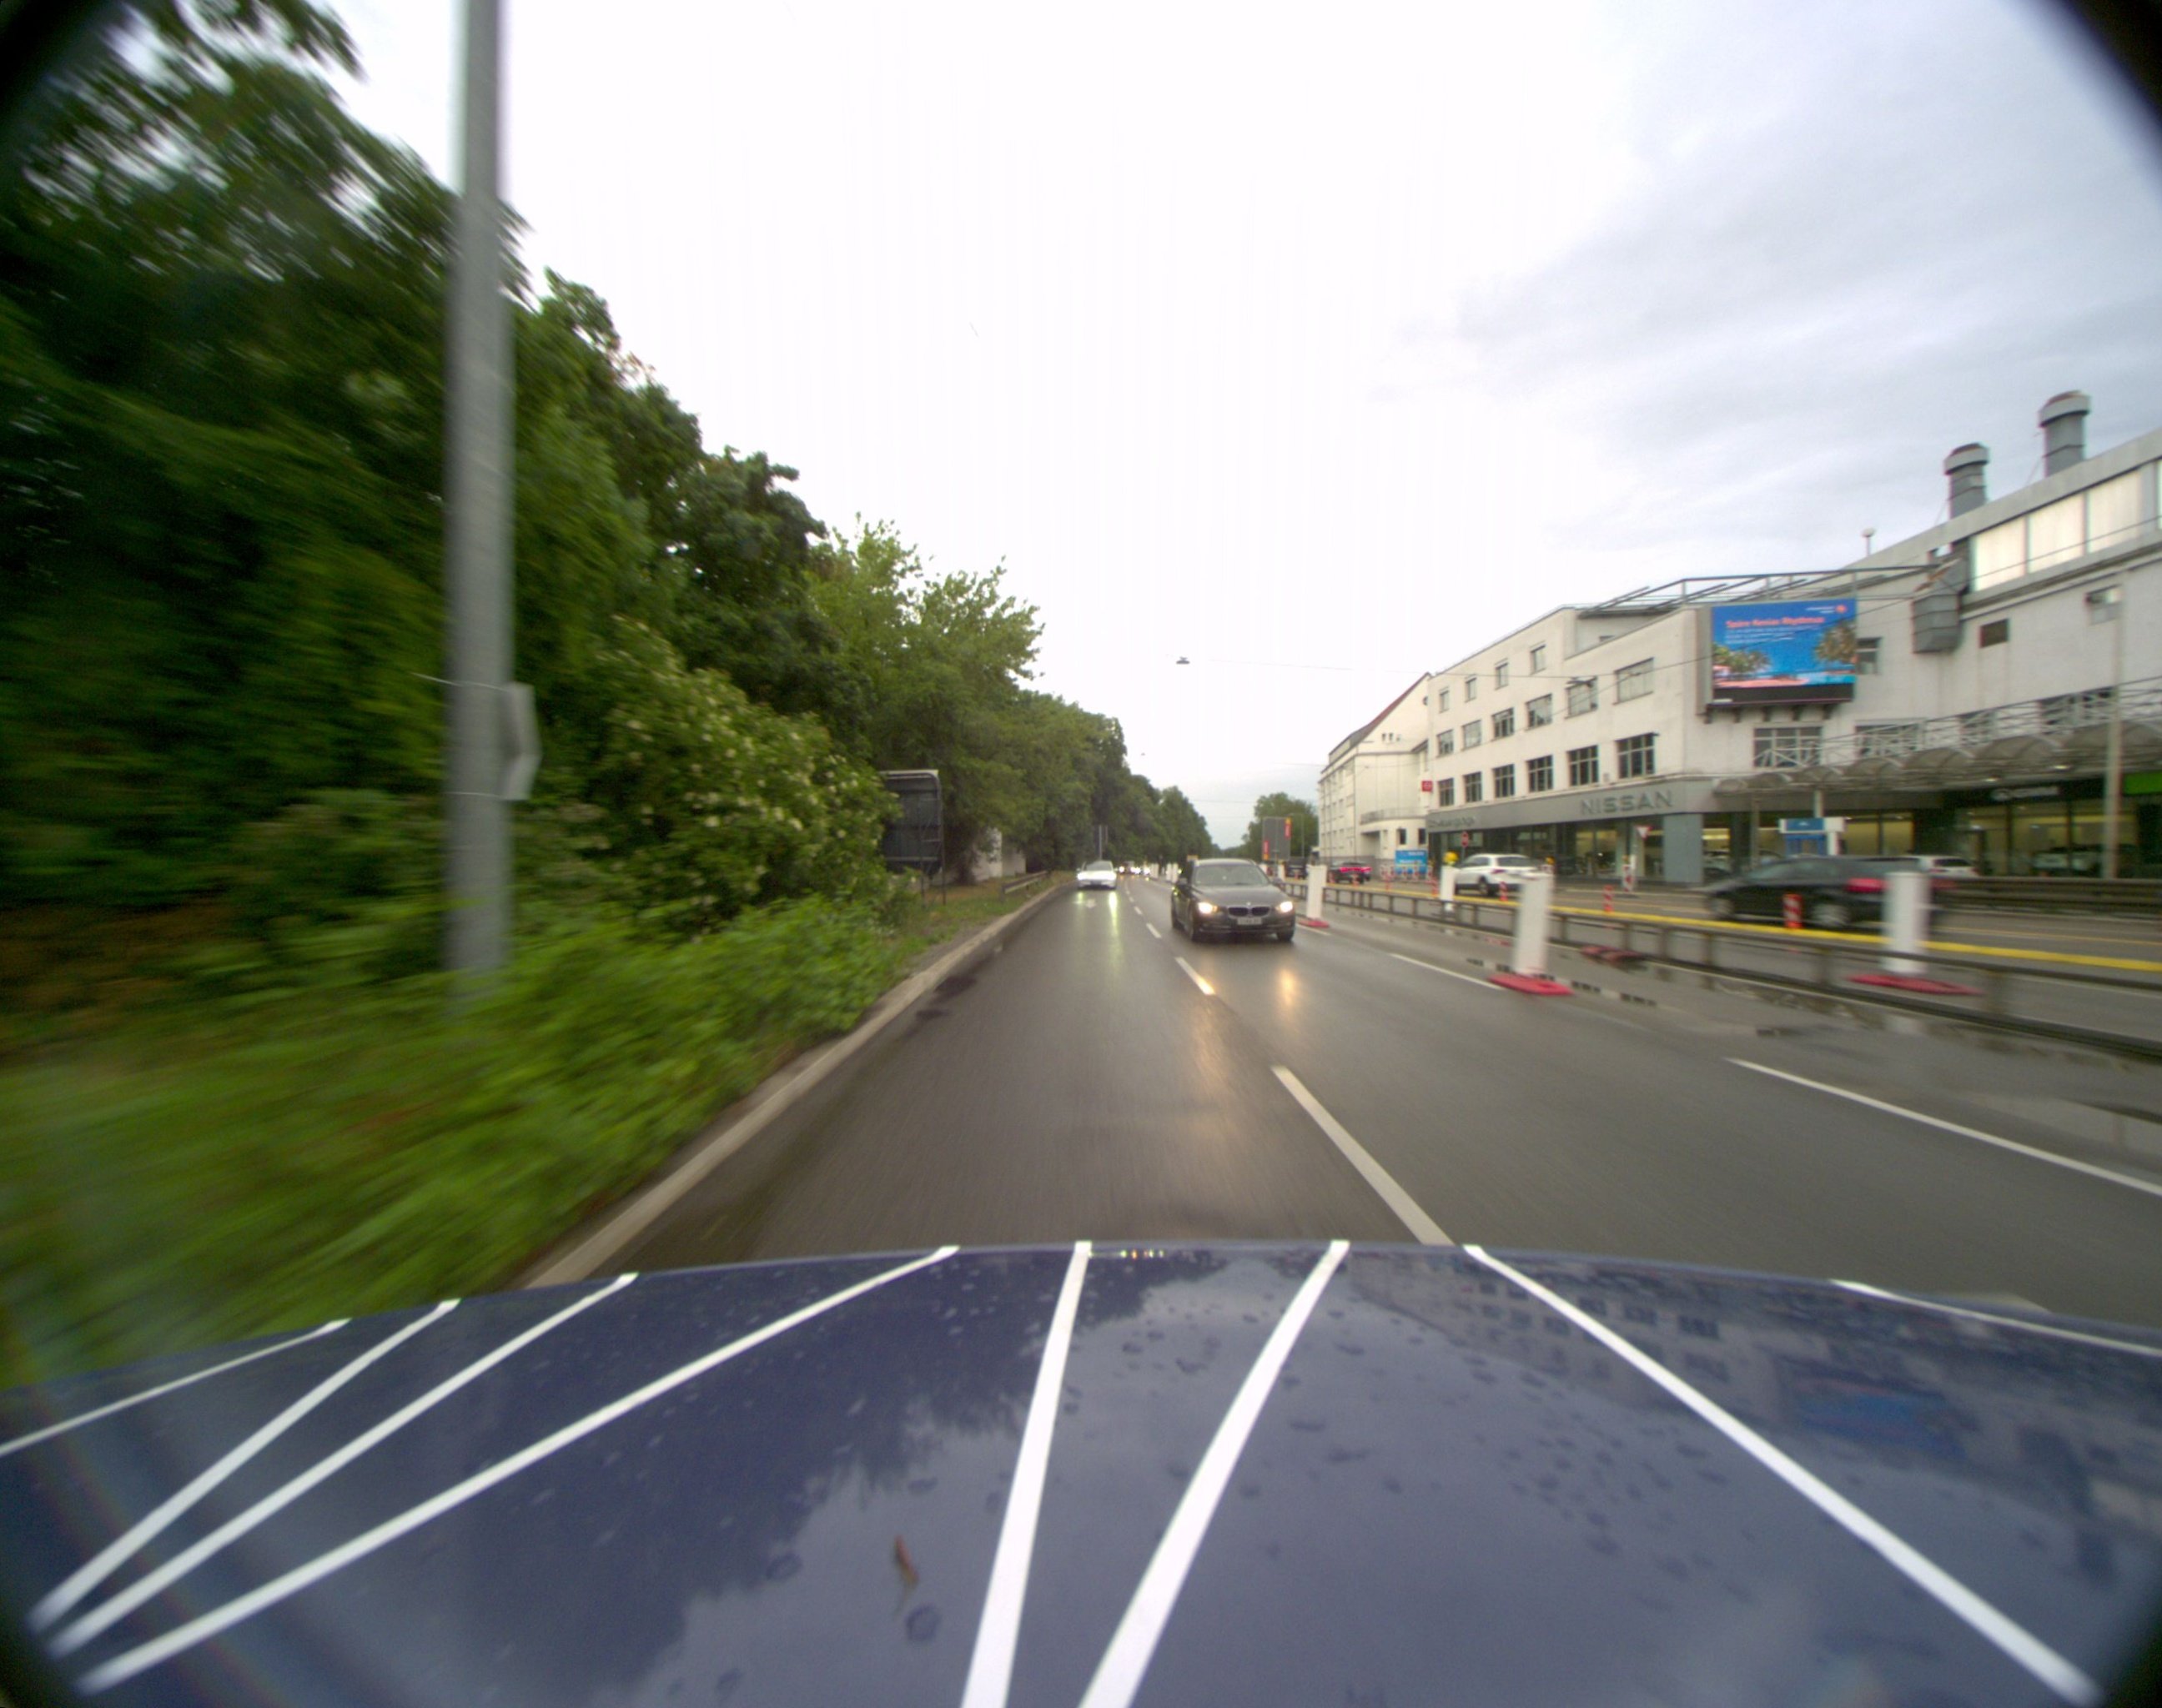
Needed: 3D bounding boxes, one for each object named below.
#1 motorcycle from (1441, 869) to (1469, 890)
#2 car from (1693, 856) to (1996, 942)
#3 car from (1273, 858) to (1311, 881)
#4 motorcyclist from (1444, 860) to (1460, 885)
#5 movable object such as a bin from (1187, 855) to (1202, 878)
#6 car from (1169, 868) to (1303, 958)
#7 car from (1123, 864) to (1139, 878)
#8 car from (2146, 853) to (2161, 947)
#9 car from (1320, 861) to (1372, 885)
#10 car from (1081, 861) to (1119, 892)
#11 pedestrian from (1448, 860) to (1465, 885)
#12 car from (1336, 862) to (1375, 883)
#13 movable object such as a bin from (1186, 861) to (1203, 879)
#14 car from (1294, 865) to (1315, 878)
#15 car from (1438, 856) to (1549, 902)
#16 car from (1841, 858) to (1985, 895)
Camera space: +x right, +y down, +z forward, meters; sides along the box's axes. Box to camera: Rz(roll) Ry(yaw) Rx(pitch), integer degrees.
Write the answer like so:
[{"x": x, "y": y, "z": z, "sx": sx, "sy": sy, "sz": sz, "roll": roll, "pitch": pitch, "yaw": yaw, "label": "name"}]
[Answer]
[{"x": 20.040, "y": 1.345, "z": 40.770, "sx": 0.580, "sy": 1.096, "sz": 2.028, "roll": 0, "pitch": 0, "yaw": 2, "label": "motorcycle"}, {"x": 15.248, "y": 0.818, "z": 15.607, "sx": 1.964, "sy": 1.512, "sz": 4.300, "roll": 0, "pitch": -1, "yaw": 1, "label": "car"}, {"x": 18.156, "y": 1.312, "z": 65.603, "sx": 1.998, "sy": 1.925, "sz": 5.232, "roll": 1, "pitch": 0, "yaw": 2, "label": "car"}, {"x": 20.078, "y": 0.983, "z": 41.164, "sx": 0.589, "sy": 1.355, "sz": 0.561, "roll": 0, "pitch": 0, "yaw": 1, "label": "motorcyclist"}, {"x": 14.729, "y": 1.661, "z": 98.385, "sx": 1.825, "sy": 2.894, "sz": 3.610, "roll": 1, "pitch": -1, "yaw": 9, "label": "movable object such as a bin"}, {"x": 2.775, "y": 1.003, "z": 14.529, "sx": 1.764, "sy": 1.441, "sz": 4.178, "roll": 0, "pitch": -1, "yaw": 1, "label": "car"}, {"x": 6.189, "y": 2.111, "z": 94.448, "sx": 1.998, "sy": 1.739, "sz": 4.001, "roll": 0, "pitch": 0, "yaw": 3, "label": "car"}, {"x": 18.449, "y": 0.740, "z": 10.521, "sx": 1.714, "sy": 1.527, "sz": 4.078, "roll": 0, "pitch": -1, "yaw": 1, "label": "car"}, {"x": 17.196, "y": 1.206, "z": 49.578, "sx": 1.855, "sy": 1.457, "sz": 4.708, "roll": 0, "pitch": 0, "yaw": 2, "label": "car"}, {"x": 0.939, "y": 1.104, "z": 38.346, "sx": 1.839, "sy": 1.424, "sz": 4.273, "roll": 1, "pitch": 0, "yaw": 1, "label": "car"}, {"x": 20.056, "y": 0.979, "z": 40.583, "sx": 0.589, "sy": 1.355, "sz": 0.561, "roll": 0, "pitch": 0, "yaw": 1, "label": "pedestrian"}, {"x": 22.315, "y": 1.490, "z": 61.955, "sx": 1.751, "sy": 1.575, "sz": 4.266, "roll": 0, "pitch": 0, "yaw": 2, "label": "car"}, {"x": 13.977, "y": 1.933, "z": 93.162, "sx": 1.997, "sy": 2.099, "sz": 3.853, "roll": 0, "pitch": -1, "yaw": 9, "label": "movable object such as a bin"}, {"x": 27.584, "y": 2.123, "z": 93.863, "sx": 1.787, "sy": 1.499, "sz": 4.524, "roll": 0, "pitch": 0, "yaw": 6, "label": "car"}, {"x": 16.073, "y": 0.918, "z": 29.914, "sx": 1.943, "sy": 1.679, "sz": 4.581, "roll": 0, "pitch": 0, "yaw": 1, "label": "car"}, {"x": 34.732, "y": 0.897, "z": 31.878, "sx": 1.817, "sy": 1.474, "sz": 3.968, "roll": 0, "pitch": 0, "yaw": 3, "label": "car"}]
